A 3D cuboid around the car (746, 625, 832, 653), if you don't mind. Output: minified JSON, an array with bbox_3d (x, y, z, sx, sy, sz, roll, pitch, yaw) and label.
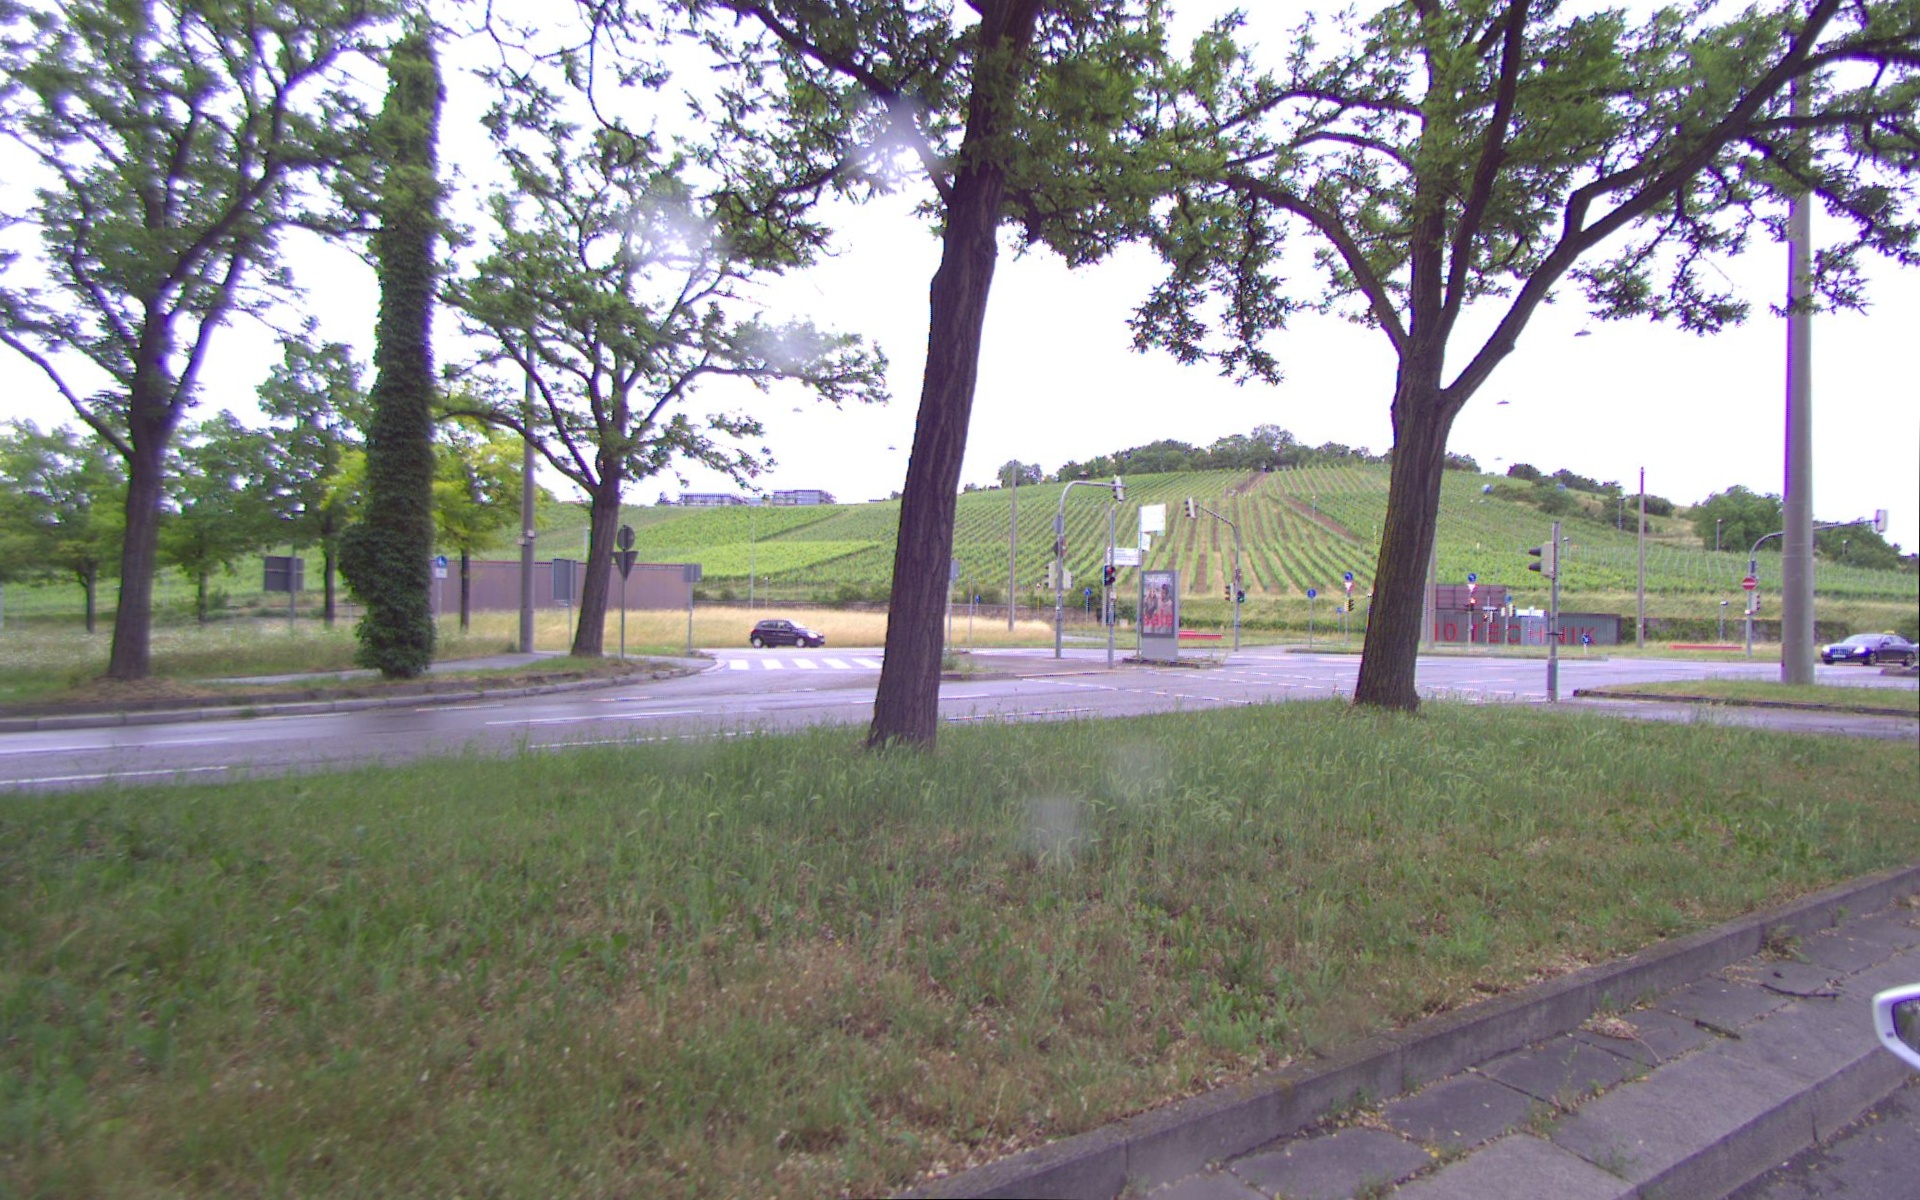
[{"bbox_3d":[-8.695,1.975,51.115,3.919,1.306,1.800,0,-1,15],"label":"car"}]

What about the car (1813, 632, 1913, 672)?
[{"bbox_3d":[42.014,2.414,46.734,4.505,1.645,1.823,2,1,-25],"label":"car"}]
